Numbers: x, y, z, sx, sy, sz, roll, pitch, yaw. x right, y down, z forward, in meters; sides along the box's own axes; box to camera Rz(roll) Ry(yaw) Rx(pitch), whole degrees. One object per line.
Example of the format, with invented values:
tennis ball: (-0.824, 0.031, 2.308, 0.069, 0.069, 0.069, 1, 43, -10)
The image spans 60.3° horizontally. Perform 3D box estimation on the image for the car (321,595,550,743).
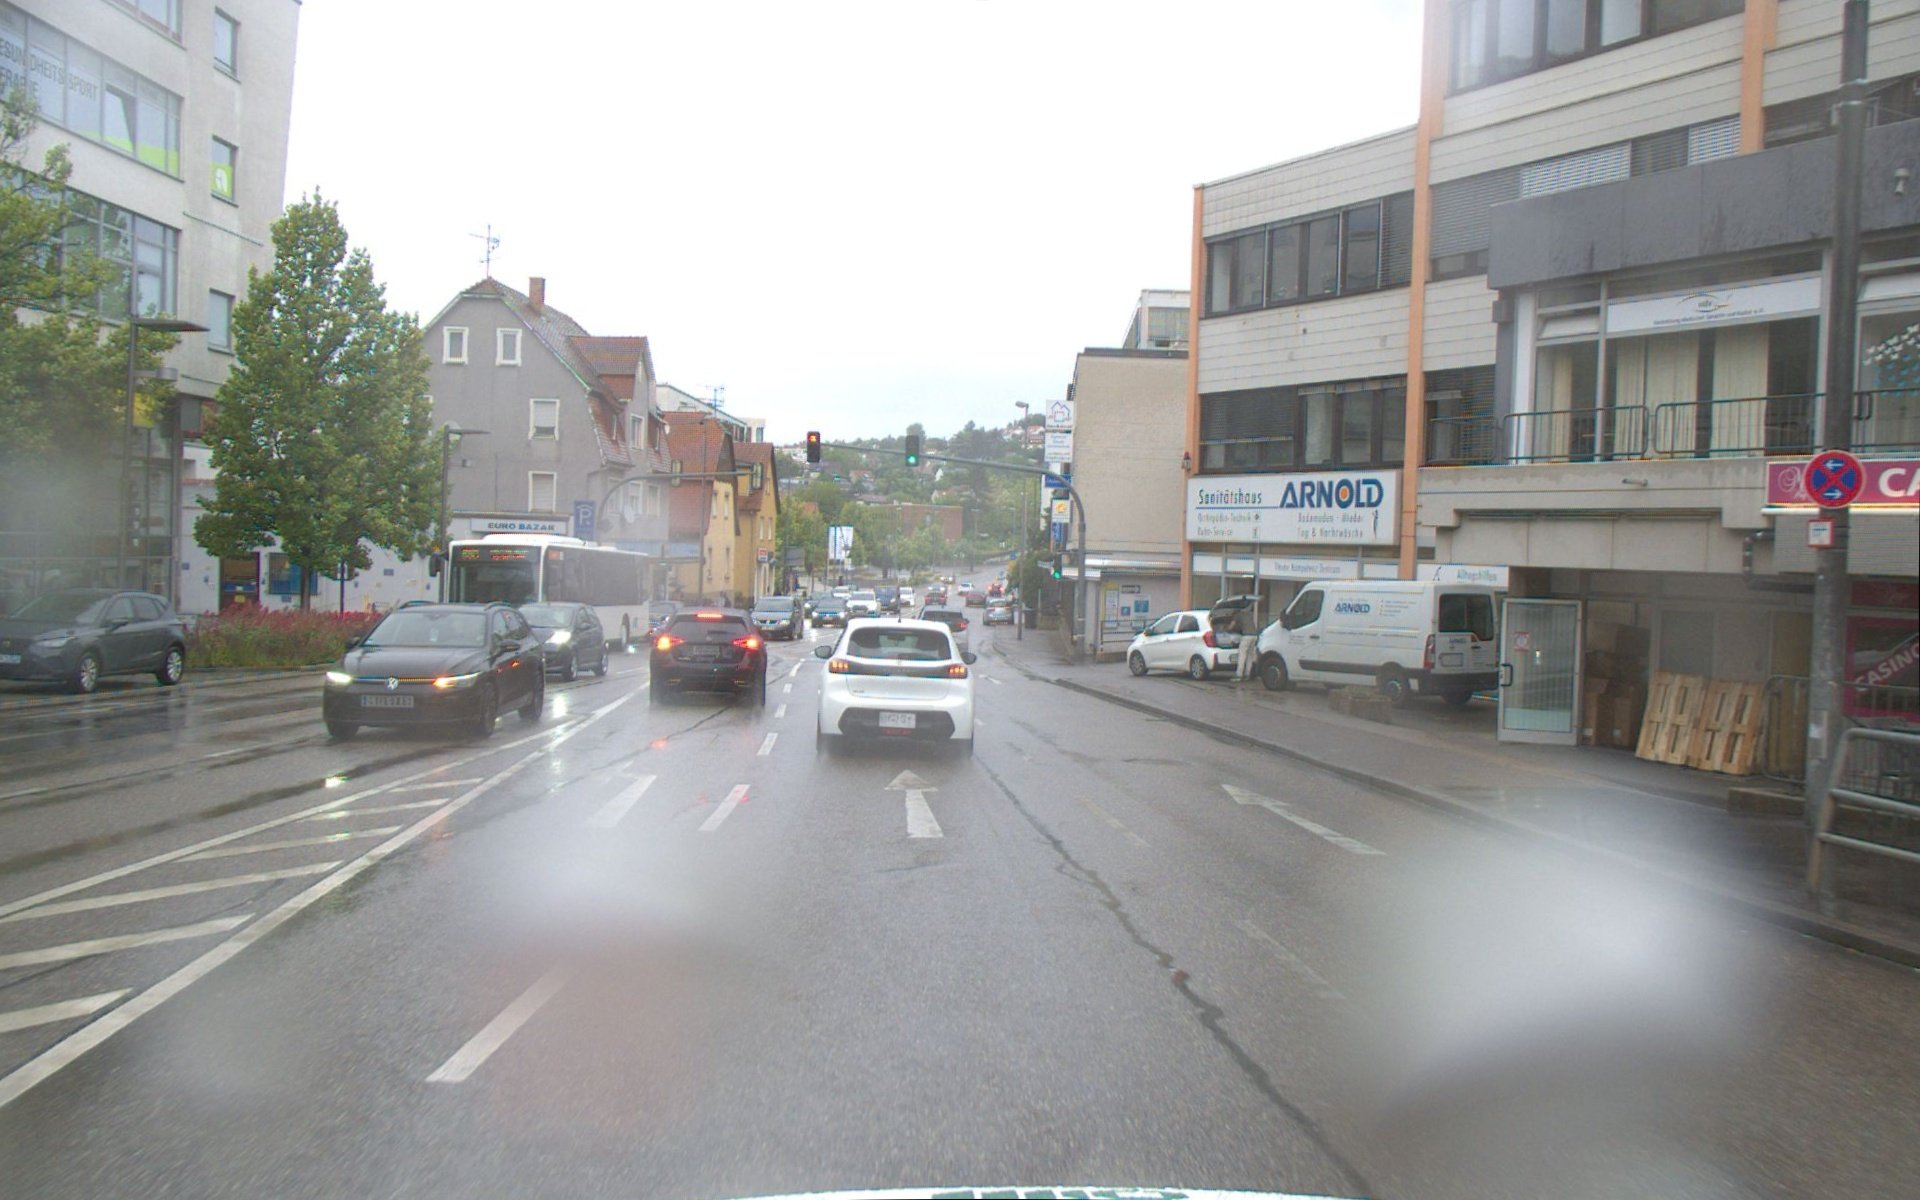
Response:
car: (-6.087, 0.736, 19.699, 1.673, 1.543, 4.387, 1, 0, -5)

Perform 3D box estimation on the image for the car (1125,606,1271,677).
car: (5.303, 0.908, 37.187, 1.592, 1.487, 3.393, 1, 0, -28)

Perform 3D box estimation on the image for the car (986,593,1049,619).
car: (5.550, 0.575, 158.510, 2.258, 2.423, 6.583, 1, 0, 43)

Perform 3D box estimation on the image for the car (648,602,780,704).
car: (-3.833, 0.785, 26.336, 1.681, 1.475, 4.195, 1, 0, -4)

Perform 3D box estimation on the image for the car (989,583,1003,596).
car: (4.345, -1.260, 200.416, 1.614, 1.511, 3.366, 1, 0, 1)

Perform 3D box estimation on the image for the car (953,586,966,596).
car: (-0.051, -1.097, 195.668, 1.356, 1.146, 2.610, 1, 0, 1)

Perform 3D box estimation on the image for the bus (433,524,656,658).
bus: (-11.006, -0.191, 45.410, 2.832, 3.153, 12.000, 1, 0, 1)

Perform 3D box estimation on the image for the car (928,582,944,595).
car: (-2.857, -1.380, 194.695, 1.731, 1.438, 4.526, 1, 0, 1)

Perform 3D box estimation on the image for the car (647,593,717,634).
car: (-9.781, 0.471, 58.404, 1.606, 1.361, 3.603, 1, 0, 4)

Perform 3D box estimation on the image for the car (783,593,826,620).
car: (-10.004, 0.417, 106.839, 1.959, 1.646, 4.951, 1, 0, 4)

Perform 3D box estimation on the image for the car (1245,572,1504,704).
car: (7.934, 0.635, 32.115, 1.984, 2.247, 4.817, -2, 2, -34)

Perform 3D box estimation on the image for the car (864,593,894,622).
car: (-5.784, 0.541, 119.001, 1.925, 1.972, 5.178, 1, 0, -1)

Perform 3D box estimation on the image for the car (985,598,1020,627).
car: (2.588, 0.790, 101.808, 1.971, 1.650, 4.359, 2, -1, -1)

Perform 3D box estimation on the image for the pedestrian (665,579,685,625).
pedestrian: (-12.345, 0.100, 71.663, 0.648, 1.954, 0.945, 3, -1, -7)

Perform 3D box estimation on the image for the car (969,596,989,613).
car: (1.704, 0.430, 150.040, 1.698, 1.412, 3.352, 3, 1, 0)

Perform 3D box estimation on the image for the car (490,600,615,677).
car: (-7.760, 0.707, 31.763, 1.533, 1.399, 3.282, 0, 0, 1)

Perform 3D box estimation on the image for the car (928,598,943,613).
car: (-2.014, 0.471, 134.512, 1.188, 1.176, 2.270, 1, 0, -1)

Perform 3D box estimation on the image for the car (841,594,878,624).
car: (-6.175, 0.563, 101.904, 2.056, 1.742, 4.848, 1, 0, -1)

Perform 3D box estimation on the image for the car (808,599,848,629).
car: (-6.730, 0.694, 84.686, 1.722, 1.459, 4.379, 1, 0, -1)

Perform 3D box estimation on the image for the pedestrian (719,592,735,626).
pedestrian: (-9.680, 0.373, 68.588, 0.567, 1.419, 0.560, 1, -1, -1)

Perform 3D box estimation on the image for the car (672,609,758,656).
car: (-7.124, 0.934, 48.484, 1.857, 1.278, 4.194, 1, 0, 0)

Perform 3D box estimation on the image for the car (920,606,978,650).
car: (-0.404, 0.883, 54.263, 1.707, 1.318, 3.332, 1, 1, -4)

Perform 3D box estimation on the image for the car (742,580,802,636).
car: (-7.153, 0.301, 63.266, 1.599, 2.049, 4.286, 1, 0, 2)

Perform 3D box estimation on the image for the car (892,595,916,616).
car: (-4.759, 0.471, 140.932, 1.839, 1.637, 4.719, 1, 0, 1)

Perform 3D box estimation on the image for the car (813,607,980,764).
car: (-0.665, 0.884, 18.709, 1.656, 1.546, 3.932, 1, -1, -1)

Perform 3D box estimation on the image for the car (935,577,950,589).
car: (-2.502, -2.397, 236.355, 1.841, 1.550, 4.186, 1, 0, 4)

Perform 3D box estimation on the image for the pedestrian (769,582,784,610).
pedestrian: (-11.798, -0.261, 106.149, 0.784, 1.819, 0.882, 1, -1, 5)

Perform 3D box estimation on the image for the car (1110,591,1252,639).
car: (6.948, 0.444, 51.878, 4.342, 1.436, 1.718, 0, 1, -32)

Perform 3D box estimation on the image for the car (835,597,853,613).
car: (-10.056, 0.412, 143.874, 1.343, 1.336, 3.041, 1, 0, -1)

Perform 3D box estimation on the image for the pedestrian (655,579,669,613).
pedestrian: (-14.082, -0.198, 78.069, 0.532, 1.584, 0.446, 1, 0, 2)

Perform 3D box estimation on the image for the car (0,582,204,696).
car: (-13.722, 0.567, 25.882, 1.953, 1.624, 3.999, 1, 0, -1)
